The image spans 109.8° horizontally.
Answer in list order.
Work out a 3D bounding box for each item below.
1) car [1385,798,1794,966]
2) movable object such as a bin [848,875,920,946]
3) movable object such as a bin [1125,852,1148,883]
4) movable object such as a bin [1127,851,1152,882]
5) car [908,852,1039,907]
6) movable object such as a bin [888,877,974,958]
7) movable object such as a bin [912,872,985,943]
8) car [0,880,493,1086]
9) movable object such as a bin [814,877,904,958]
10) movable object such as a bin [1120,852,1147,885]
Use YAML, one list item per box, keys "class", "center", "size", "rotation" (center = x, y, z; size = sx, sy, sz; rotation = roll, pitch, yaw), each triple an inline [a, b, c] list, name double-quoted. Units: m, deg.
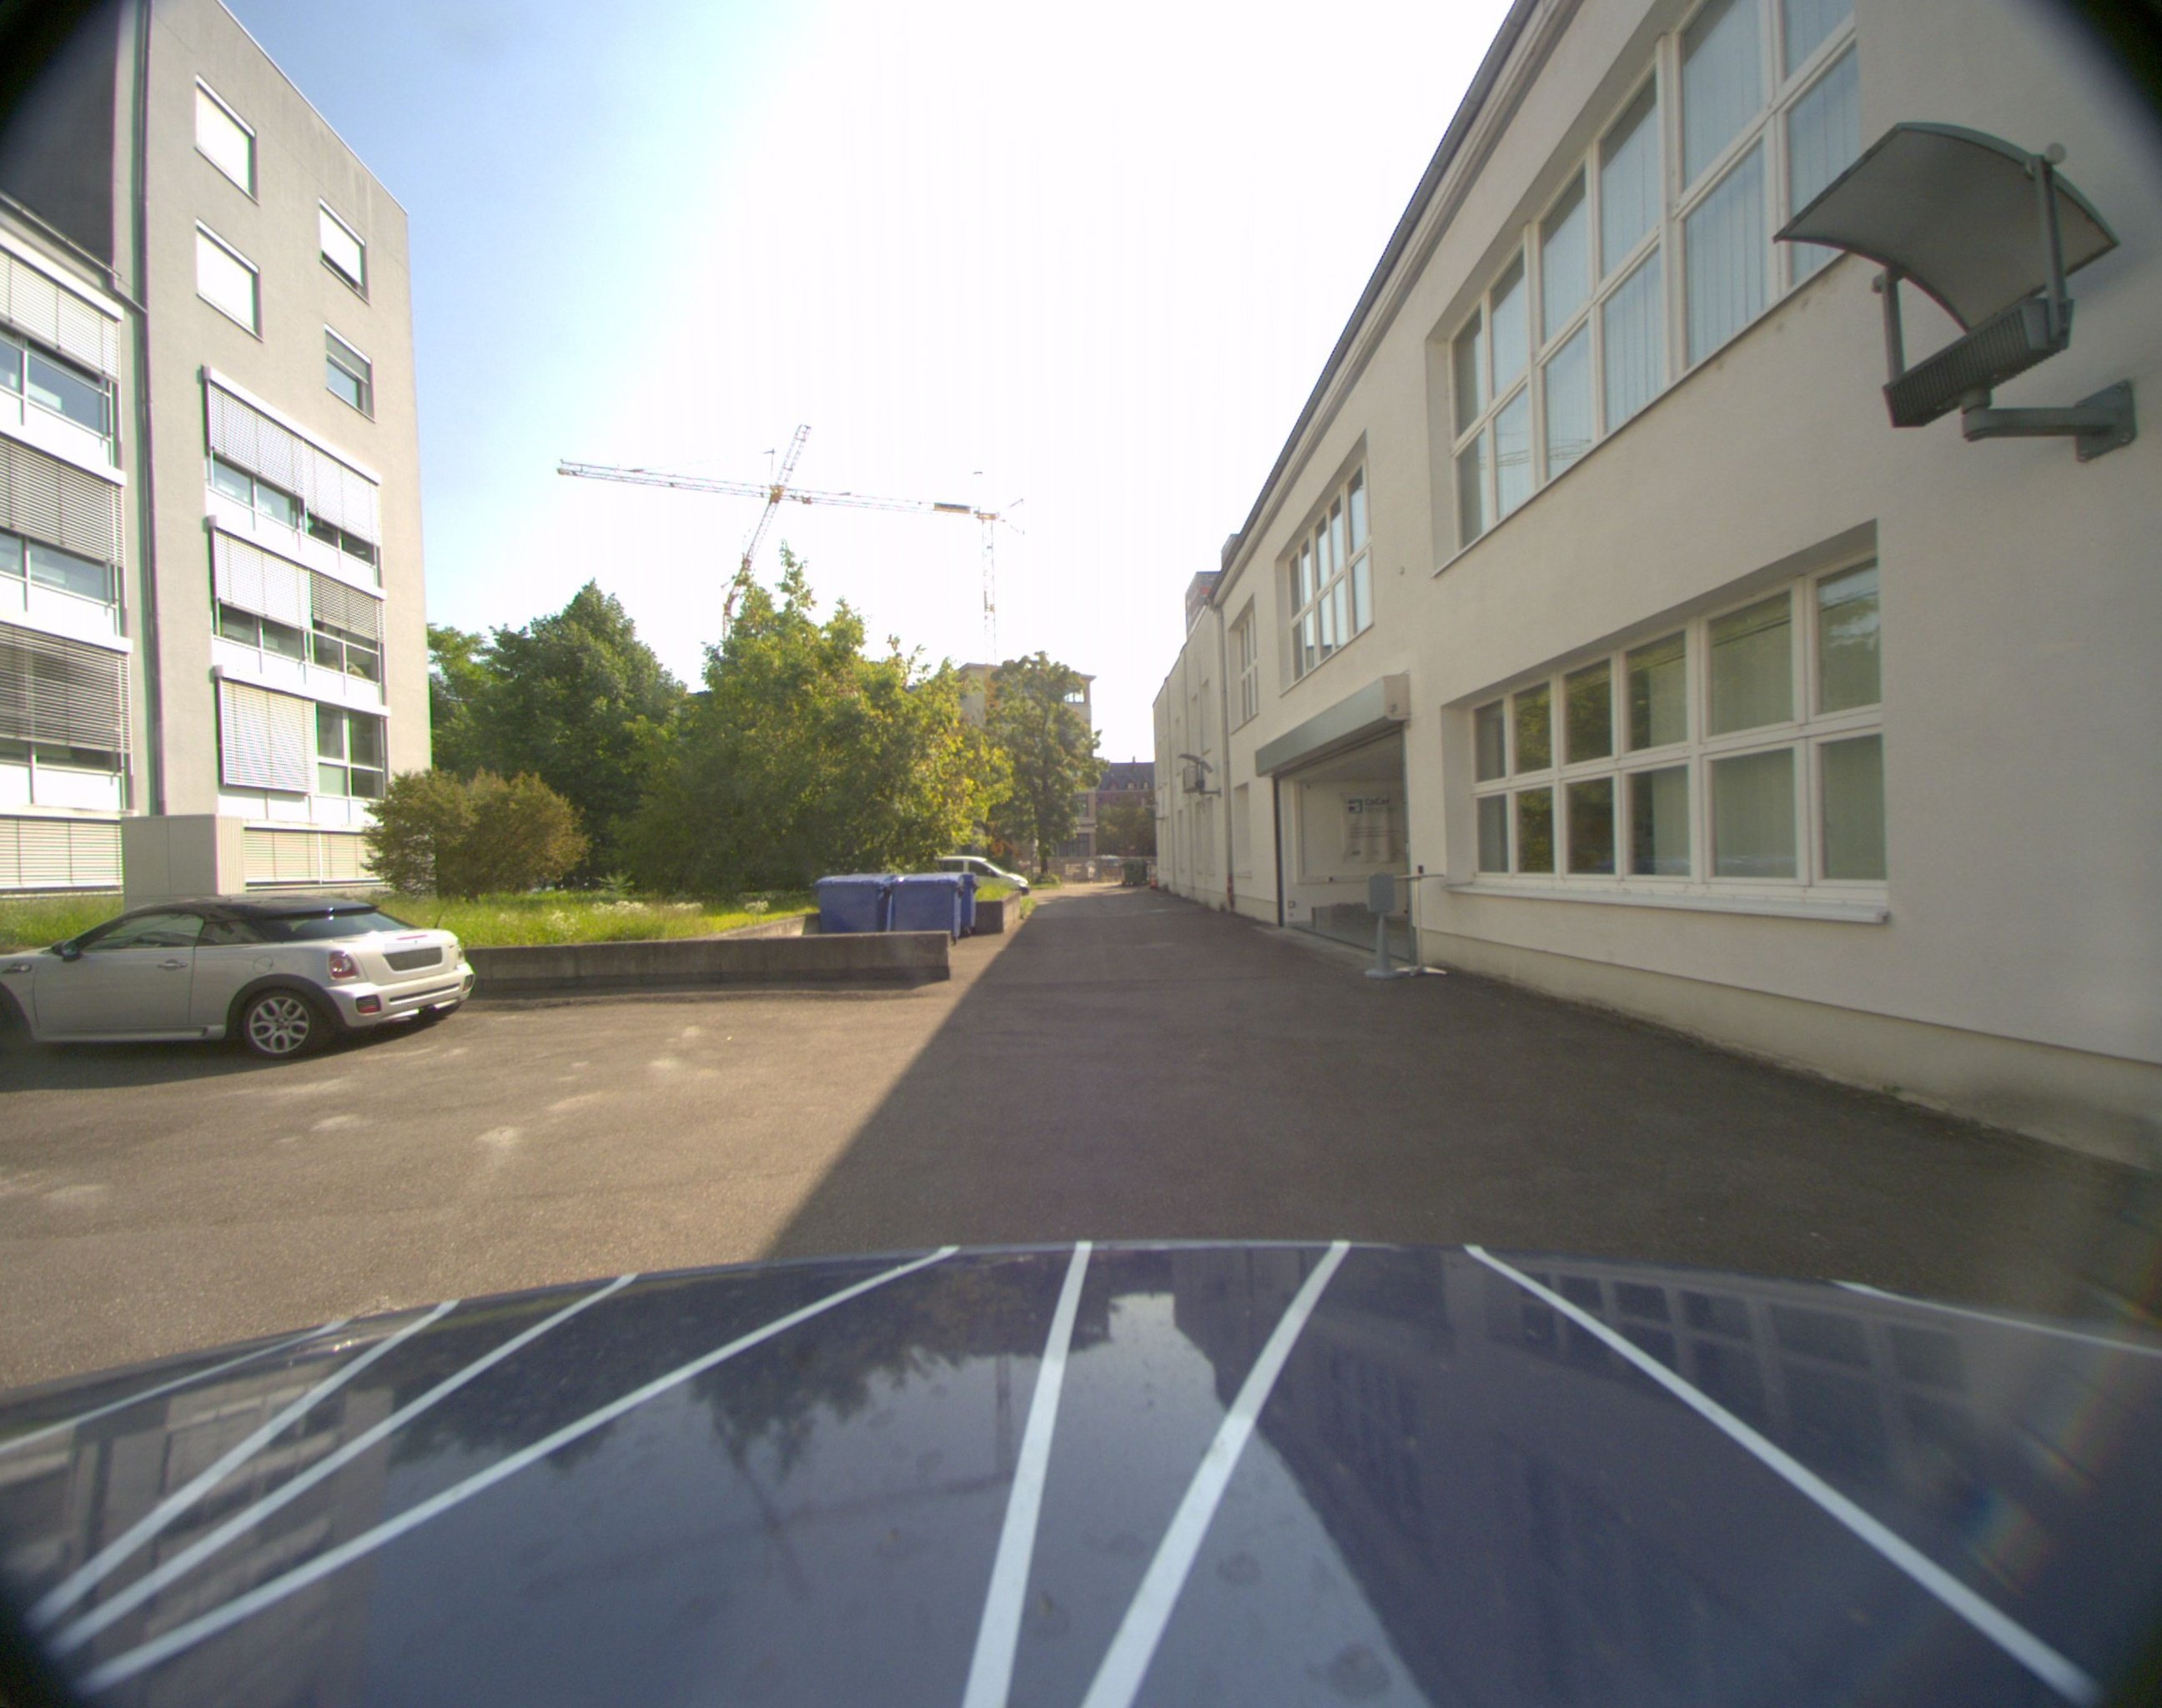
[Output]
- class: "car"
  center: [7.428, 0.373, 11.497]
  size: [4.759, 2.080, 2.055]
  rotation: [-3, 1, -1]
- class: "movable object such as a bin"
  center: [-4.047, 1.137, 15.720]
  size: [1.230, 1.333, 1.076]
  rotation: [-2, 1, -5]
- class: "movable object such as a bin"
  center: [3.094, 0.741, 42.403]
  size: [1.183, 1.696, 1.395]
  rotation: [-2, 1, 3]
- class: "movable object such as a bin"
  center: [3.358, 0.720, 43.815]
  size: [1.184, 1.696, 1.376]
  rotation: [-2, 1, -5]
- class: "car"
  center: [-4.317, 1.010, 31.113]
  size: [4.969, 1.910, 2.044]
  rotation: [-3, 1, 1]
- class: "movable object such as a bin"
  center: [-2.731, 1.134, 13.973]
  size: [1.304, 1.333, 1.194]
  rotation: [-2, 1, -1]
- class: "movable object such as a bin"
  center: [-2.713, 1.083, 15.725]
  size: [1.313, 1.333, 1.100]
  rotation: [-2, 1, -4]
- class: "car"
  center: [-8.067, 1.099, 7.122]
  size: [3.629, 1.536, 1.802]
  rotation: [2, 0, -3]
- class: "movable object such as a bin"
  center: [-4.062, 1.142, 14.002]
  size: [1.237, 1.333, 1.117]
  rotation: [-2, 1, 3]
- class: "movable object such as a bin"
  center: [2.798, 0.765, 40.599]
  size: [1.184, 1.696, 1.376]
  rotation: [-2, 1, -5]
